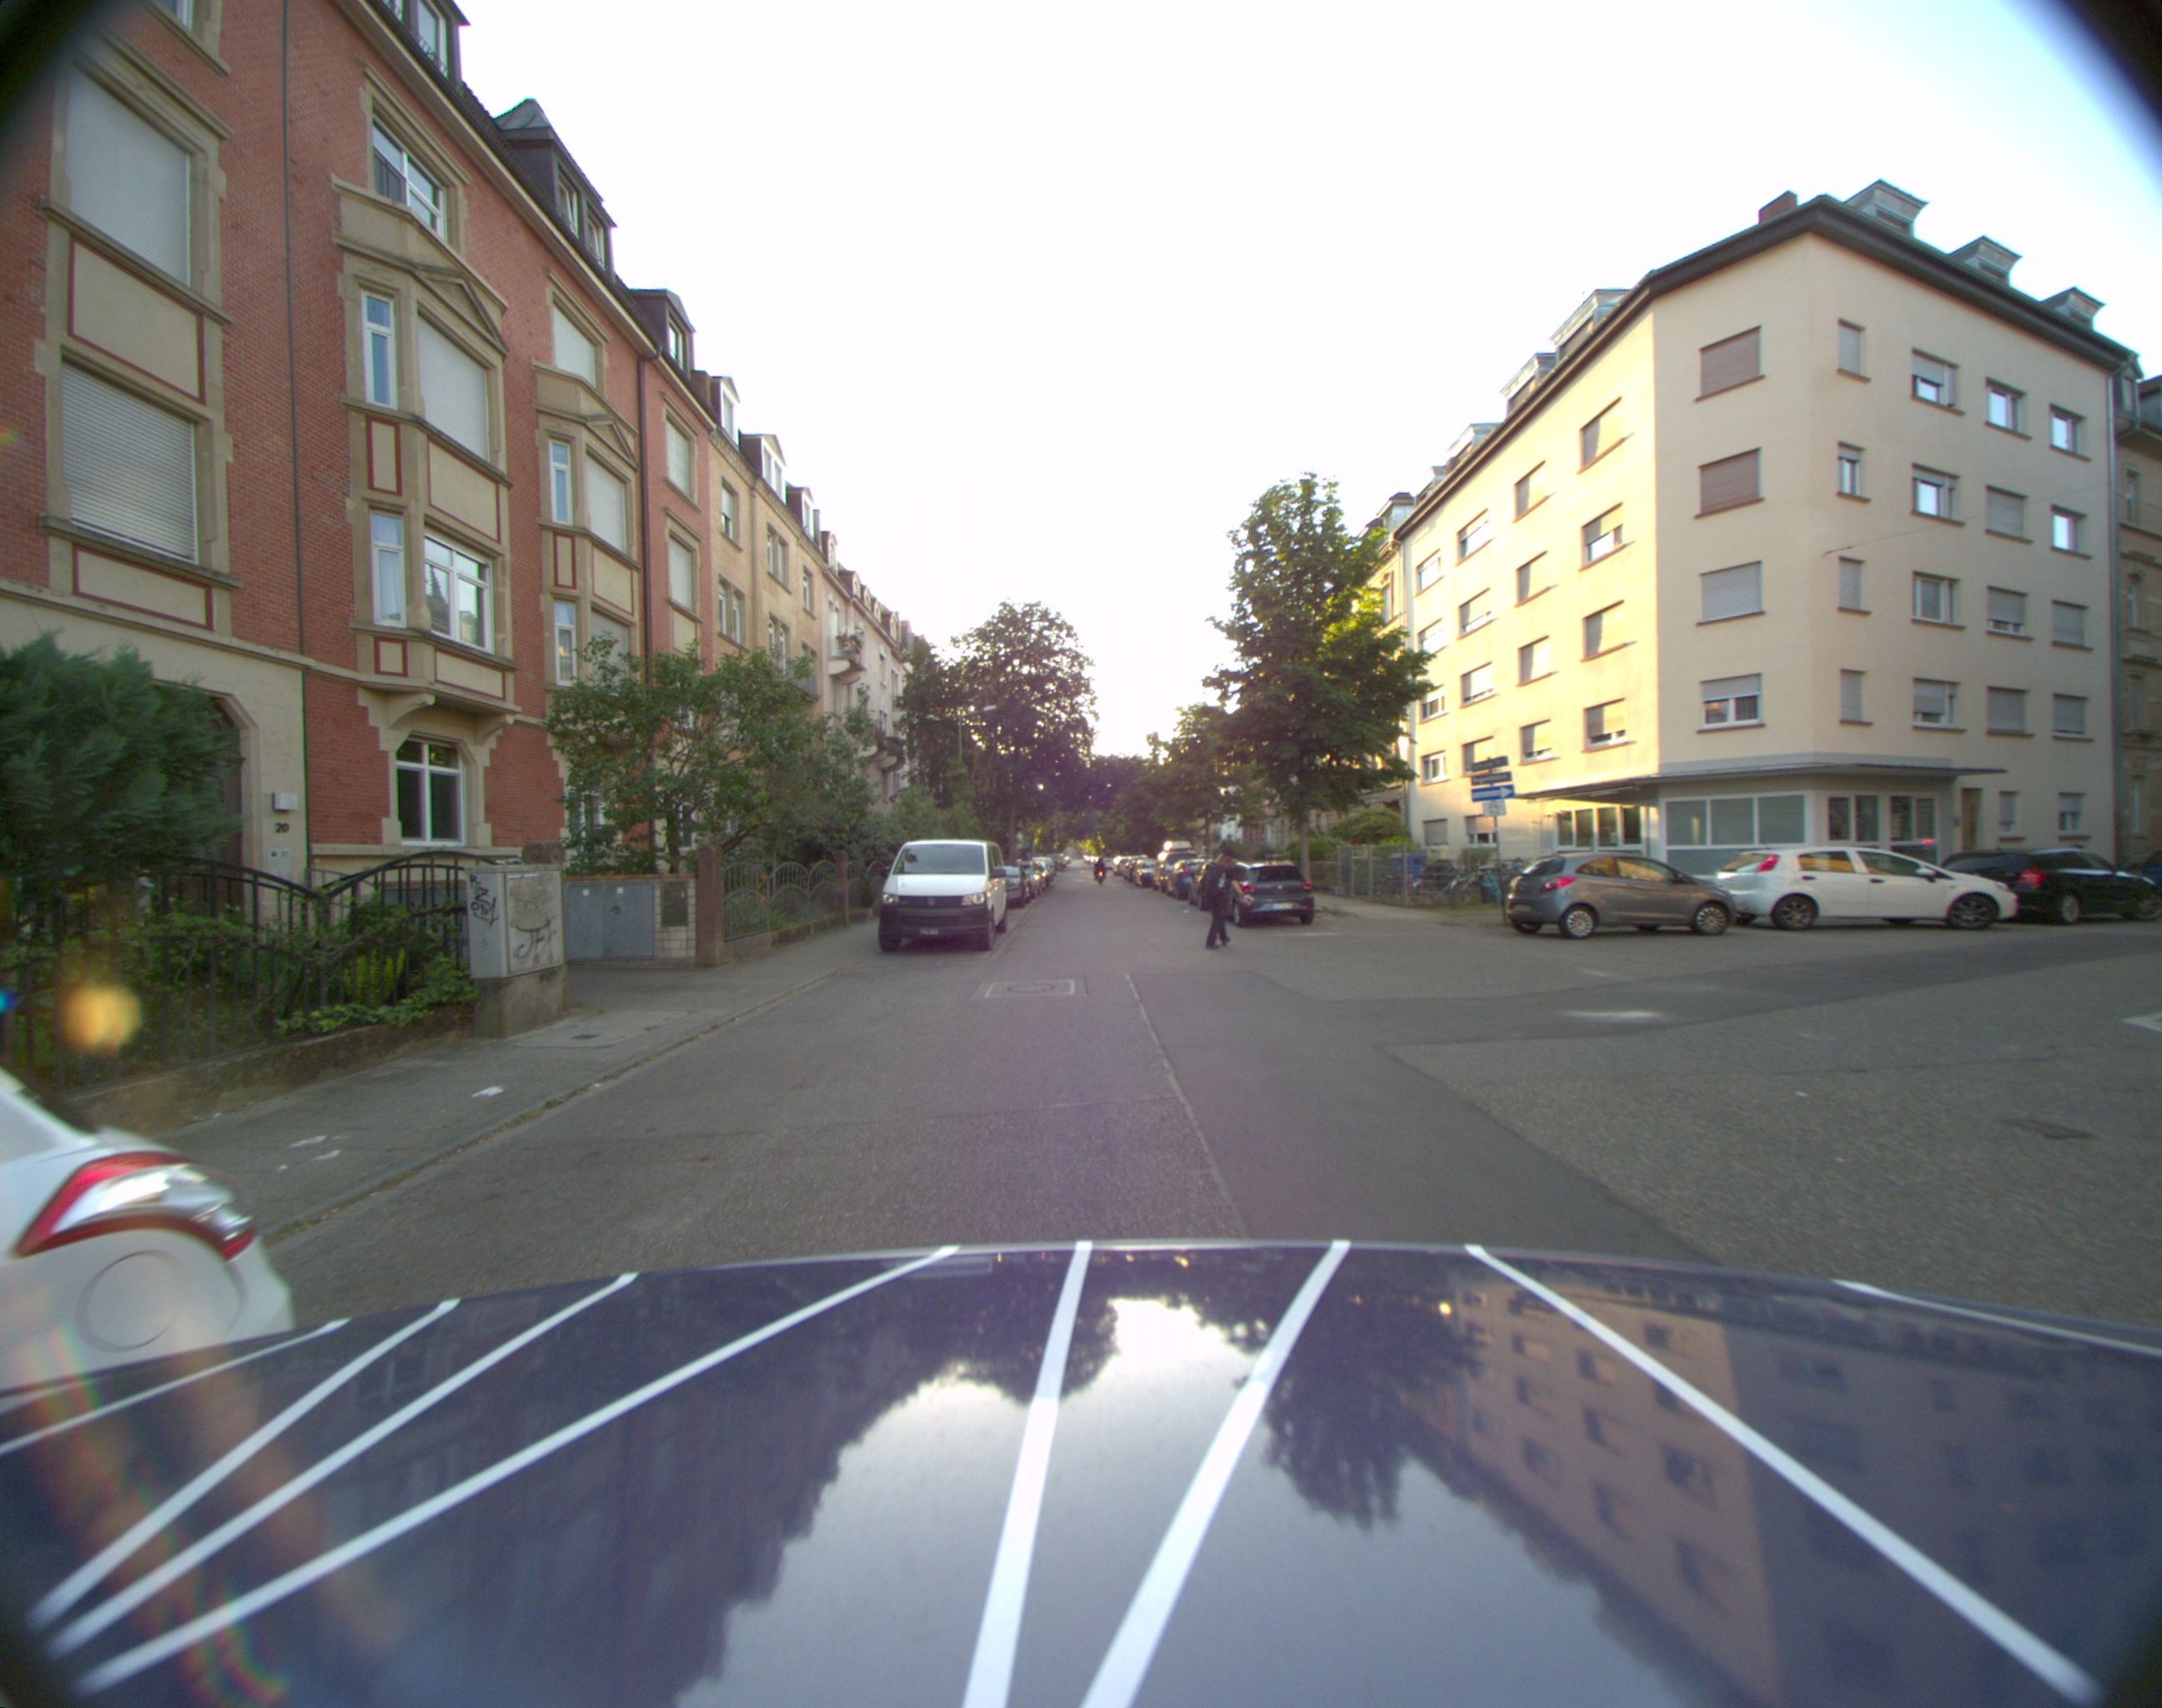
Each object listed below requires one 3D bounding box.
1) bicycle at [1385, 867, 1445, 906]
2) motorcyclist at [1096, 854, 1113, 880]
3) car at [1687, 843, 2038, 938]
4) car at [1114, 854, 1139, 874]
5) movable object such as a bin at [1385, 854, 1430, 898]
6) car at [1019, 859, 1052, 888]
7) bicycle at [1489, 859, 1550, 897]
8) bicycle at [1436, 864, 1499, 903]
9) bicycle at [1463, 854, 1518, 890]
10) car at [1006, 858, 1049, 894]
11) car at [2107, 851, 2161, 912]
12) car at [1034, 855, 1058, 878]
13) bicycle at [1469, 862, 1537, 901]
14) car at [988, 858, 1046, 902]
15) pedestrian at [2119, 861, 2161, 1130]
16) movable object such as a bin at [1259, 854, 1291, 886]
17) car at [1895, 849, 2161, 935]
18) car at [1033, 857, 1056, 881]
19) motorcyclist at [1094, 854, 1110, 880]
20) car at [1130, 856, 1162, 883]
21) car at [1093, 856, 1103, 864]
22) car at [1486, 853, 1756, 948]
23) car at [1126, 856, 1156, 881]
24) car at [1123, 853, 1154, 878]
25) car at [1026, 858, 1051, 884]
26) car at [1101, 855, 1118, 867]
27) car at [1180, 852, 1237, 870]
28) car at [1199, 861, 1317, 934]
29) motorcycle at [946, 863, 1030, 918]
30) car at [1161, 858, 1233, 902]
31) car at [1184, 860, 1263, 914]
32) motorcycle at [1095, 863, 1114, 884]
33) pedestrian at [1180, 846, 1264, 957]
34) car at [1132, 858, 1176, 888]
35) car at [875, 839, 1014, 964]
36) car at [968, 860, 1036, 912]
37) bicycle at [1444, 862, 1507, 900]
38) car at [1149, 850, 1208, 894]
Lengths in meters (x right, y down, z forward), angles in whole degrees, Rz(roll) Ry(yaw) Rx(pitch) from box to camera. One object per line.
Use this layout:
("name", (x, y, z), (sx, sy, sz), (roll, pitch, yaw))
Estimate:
("bicycle", (9.649, 0.913, 22.011), (0.689, 1.019, 1.931), (-3, 0, -6))
("motorcyclist", (1.421, 0.784, 45.877), (0.891, 1.496, 0.970), (2, 1, 10))
("car", (14.079, 0.643, 13.996), (4.066, 1.500, 1.975), (-3, 0, 12))
("car", (3.868, 0.812, 65.413), (1.677, 1.627, 3.939), (-2, 0, -3))
("movable object such as a bin", (10.726, 0.712, 24.998), (0.868, 1.344, 1.398), (-3, 1, 1))
("car", (-2.565, 1.077, 43.724), (1.737, 1.498, 4.163), (-2, 0, -2))
("bicycle", (13.755, 0.737, 23.832), (1.635, 1.086, 0.500), (-3, 1, -6))
("bicycle", (11.257, 0.842, 22.163), (0.502, 1.086, 1.545), (-3, 1, -38))
("bicycle", (13.521, 0.591, 25.094), (1.548, 1.086, 0.500), (-3, 1, -6))
("car", (-2.461, 1.001, 35.859), (1.590, 1.516, 3.602), (-3, 0, 2))
("car", (26.463, 0.607, 17.852), (4.004, 1.399, 1.871), (0, 0, -22))
("car", (-2.689, 0.923, 58.959), (1.737, 1.692, 4.167), (-2, 0, -2))
("bicycle", (12.366, 0.806, 22.311), (0.386, 1.086, 1.707), (-3, 1, -37))
("car", (-2.566, 0.998, 31.362), (1.761, 1.573, 4.842), (-3, 0, 2))
("pedestrian", (6.770, 0.849, 4.301), (0.710, 1.609, 0.787), (-2, 1, 18))
("movable object such as a bin", (8.969, 0.715, 35.109), (0.948, 1.379, 1.551), (-3, 1, -4))
("car", (18.454, 0.671, 14.766), (4.082, 1.430, 1.996), (-1, 0, -17))
("car", (-2.572, 1.024, 53.340), (1.502, 1.538, 3.338), (-2, 0, -2))
("motorcyclist", (1.246, 0.772, 45.127), (0.789, 1.531, 0.546), (2, 1, 9))
("car", (3.749, 0.881, 44.514), (1.441, 1.485, 3.297), (-2, 0, -2))
("car", (3.380, 1.229, 149.026), (1.840, 1.484, 3.641), (-2, 0, -1))
("car", (9.560, 0.791, 13.668), (3.515, 1.499, 1.845), (-2, 0, -1))
("car", (3.832, 0.901, 48.973), (1.682, 1.490, 3.625), (-2, 0, 2))
("car", (4.039, 0.793, 54.015), (1.866, 1.653, 4.021), (-2, 0, 0))
("car", (-2.699, 1.074, 48.936), (1.479, 1.498, 3.928), (-2, 0, -2))
("car", (3.677, 0.897, 99.248), (1.953, 1.484, 3.737), (-2, 0, -1))
("car", (10.584, 0.545, 63.218), (4.413, 1.333, 1.625), (-2, 1, 0))
("car", (4.155, 0.960, 18.570), (1.679, 1.453, 4.462), (-2, 0, -2))
("motorcycle", (-2.687, 1.021, 21.997), (2.099, 1.474, 1.130), (0, 1, -34))
("car", (4.255, 0.913, 28.552), (1.866, 1.404, 4.589), (-2, 0, -1))
("car", (4.286, 0.933, 23.396), (1.746, 1.412, 4.143), (-2, 0, 2))
("motorcycle", (1.415, 1.145, 45.795), (0.848, 1.202, 2.076), (2, 1, 10))
("pedestrian", (2.332, 0.759, 12.590), (0.960, 1.712, 0.889), (-3, 1, -33))
("car", (3.743, 0.951, 39.799), (1.733, 1.433, 4.023), (-2, 0, -2))
("car", (-2.465, 0.767, 15.092), (1.866, 2.027, 5.543), (0, 0, -1))
("car", (-2.613, 1.022, 26.109), (1.724, 1.542, 4.325), (-2, 0, 2))
("bicycle", (11.663, 0.792, 22.484), (0.502, 1.086, 1.545), (-3, 1, -38))
("car", (4.208, 0.724, 33.449), (1.866, 1.769, 4.622), (-2, 0, -1))
